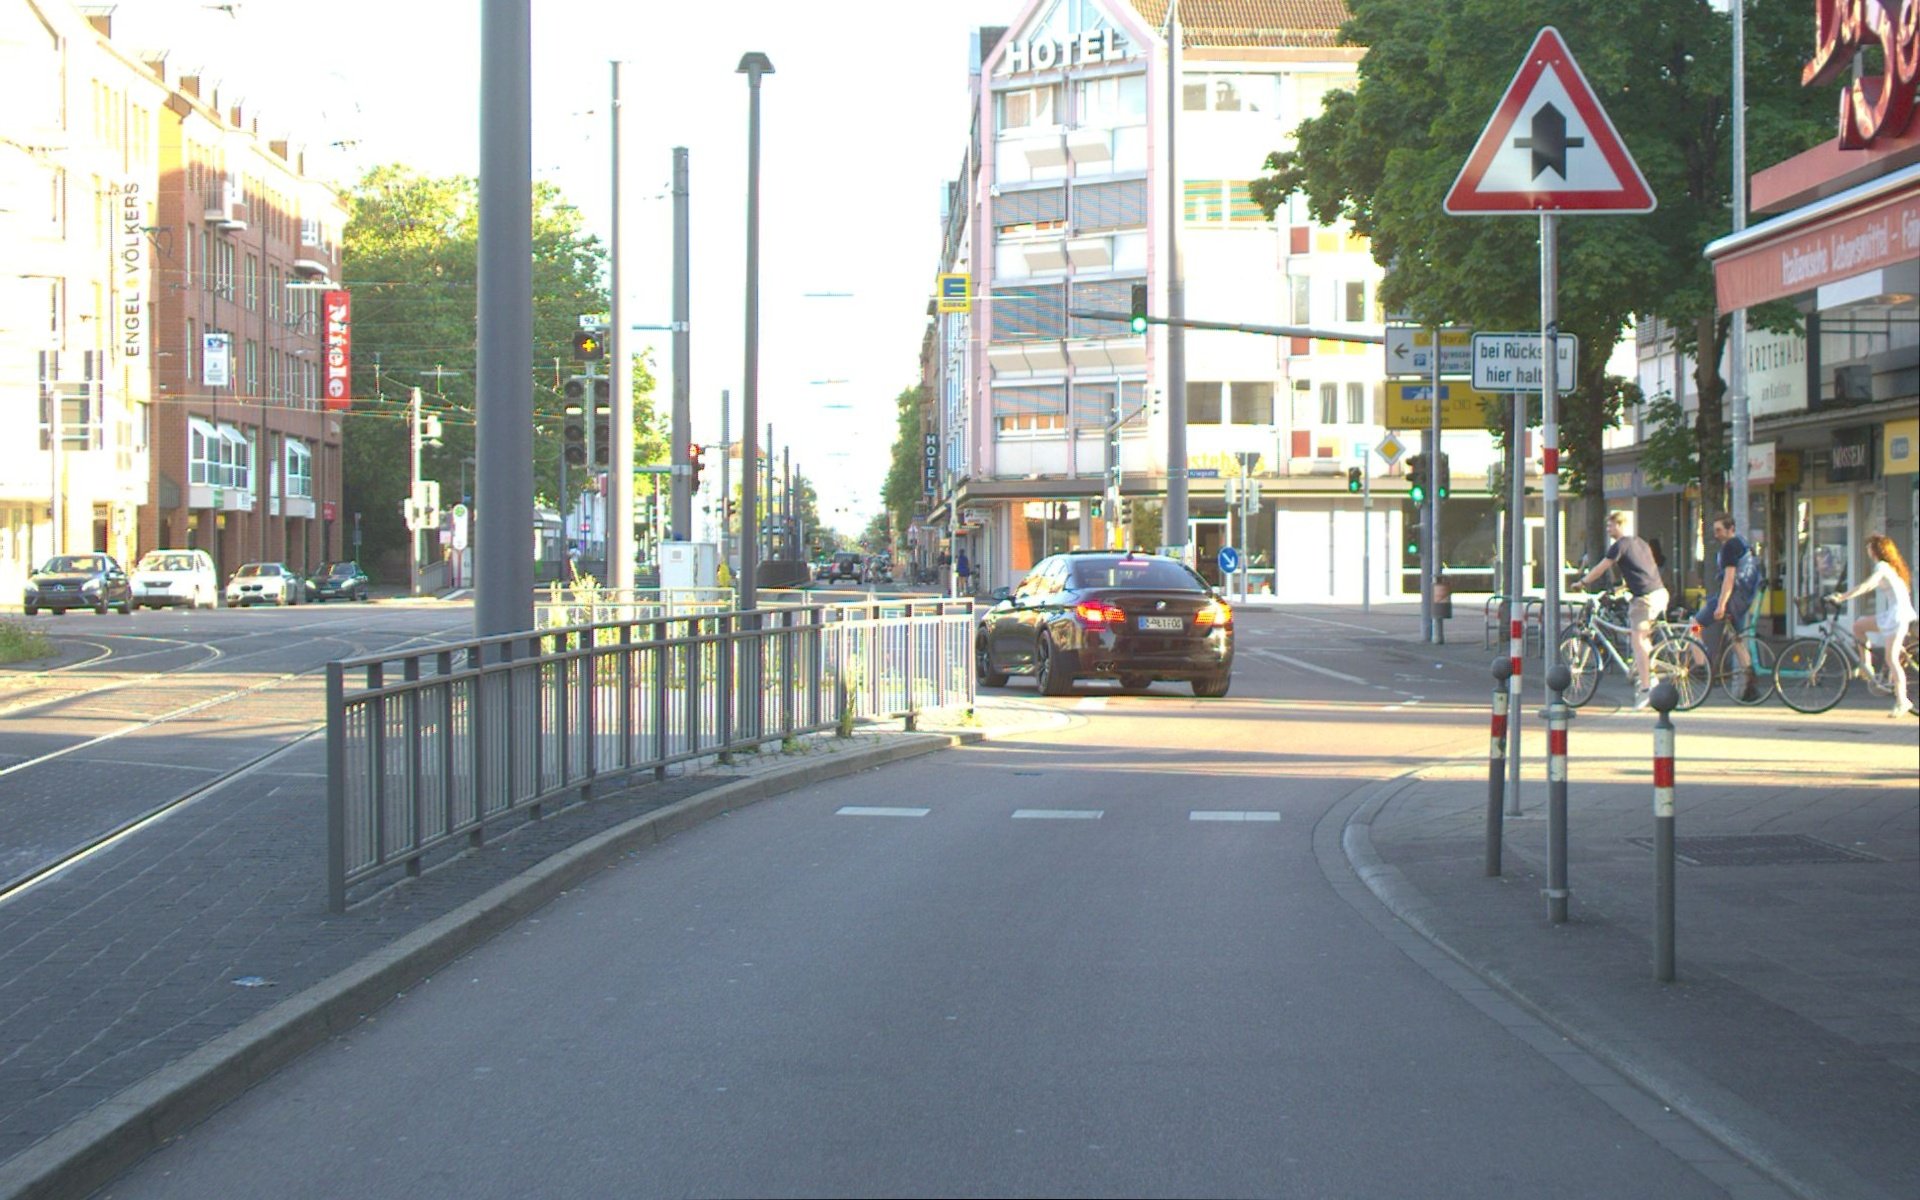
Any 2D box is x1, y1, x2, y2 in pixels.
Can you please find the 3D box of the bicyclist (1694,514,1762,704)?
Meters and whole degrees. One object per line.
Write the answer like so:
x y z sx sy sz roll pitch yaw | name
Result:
7.423 0.080 33.240 0.464 1.824 0.559 0 1 -9 | bicyclist

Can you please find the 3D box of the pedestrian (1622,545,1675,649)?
11.025 -0.053 55.051 0.723 1.661 0.671 0 1 2 | pedestrian

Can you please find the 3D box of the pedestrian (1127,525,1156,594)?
4.866 -1.084 92.225 0.684 1.848 0.671 0 1 -5 | pedestrian

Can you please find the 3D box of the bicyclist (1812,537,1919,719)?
8.316 0.238 31.003 1.112 1.617 0.839 0 1 23 | bicyclist

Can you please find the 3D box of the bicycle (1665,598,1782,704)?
7.396 0.482 33.386 0.464 0.967 1.801 0 1 -9 | bicycle

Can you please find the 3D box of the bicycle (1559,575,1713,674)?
8.613 0.307 43.839 1.905 1.231 0.668 0 1 10 | bicycle

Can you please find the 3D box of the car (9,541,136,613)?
-20.335 -0.552 78.941 1.993 1.579 4.588 0 1 -4 | car

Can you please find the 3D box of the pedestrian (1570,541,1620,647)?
10.101 -0.100 54.714 0.684 1.661 0.671 0 1 2 | pedestrian

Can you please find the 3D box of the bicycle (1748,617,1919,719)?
8.209 0.611 31.051 2.008 0.878 0.839 0 0 23 | bicycle

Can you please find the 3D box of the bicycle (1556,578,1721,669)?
8.457 0.291 42.869 1.997 1.107 0.668 0 1 12 | bicycle

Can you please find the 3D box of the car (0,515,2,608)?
-20.434 -0.753 67.885 1.993 1.895 4.812 0 1 -4 | car

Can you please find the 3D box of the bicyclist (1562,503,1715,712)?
6.322 0.056 32.051 0.838 1.910 1.114 -1 1 -38 | bicyclist

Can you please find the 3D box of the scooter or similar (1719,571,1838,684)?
9.147 0.300 38.451 1.277 1.231 0.337 1 1 41 | scooter or similar

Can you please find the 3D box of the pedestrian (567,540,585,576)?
-18.117 -1.987 162.055 0.723 1.675 0.991 0 1 1 | pedestrian

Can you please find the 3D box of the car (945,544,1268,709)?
1.428 0.219 35.315 1.993 1.579 4.001 -1 1 -19 | car

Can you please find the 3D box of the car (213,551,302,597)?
-22.567 -0.847 110.566 1.669 1.443 4.201 0 1 5 | car

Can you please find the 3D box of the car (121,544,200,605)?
-21.329 -0.690 91.688 1.993 1.579 4.114 0 1 -13 | car

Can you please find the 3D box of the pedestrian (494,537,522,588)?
-18.103 -1.507 137.695 0.988 2.007 0.726 2 0 -3 | pedestrian

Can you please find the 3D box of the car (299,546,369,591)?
-22.796 -1.170 125.271 1.993 1.579 4.480 0 1 -4 | car

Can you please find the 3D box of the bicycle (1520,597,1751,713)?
6.291 0.496 32.109 0.838 1.016 2.077 -1 1 -38 | bicycle
